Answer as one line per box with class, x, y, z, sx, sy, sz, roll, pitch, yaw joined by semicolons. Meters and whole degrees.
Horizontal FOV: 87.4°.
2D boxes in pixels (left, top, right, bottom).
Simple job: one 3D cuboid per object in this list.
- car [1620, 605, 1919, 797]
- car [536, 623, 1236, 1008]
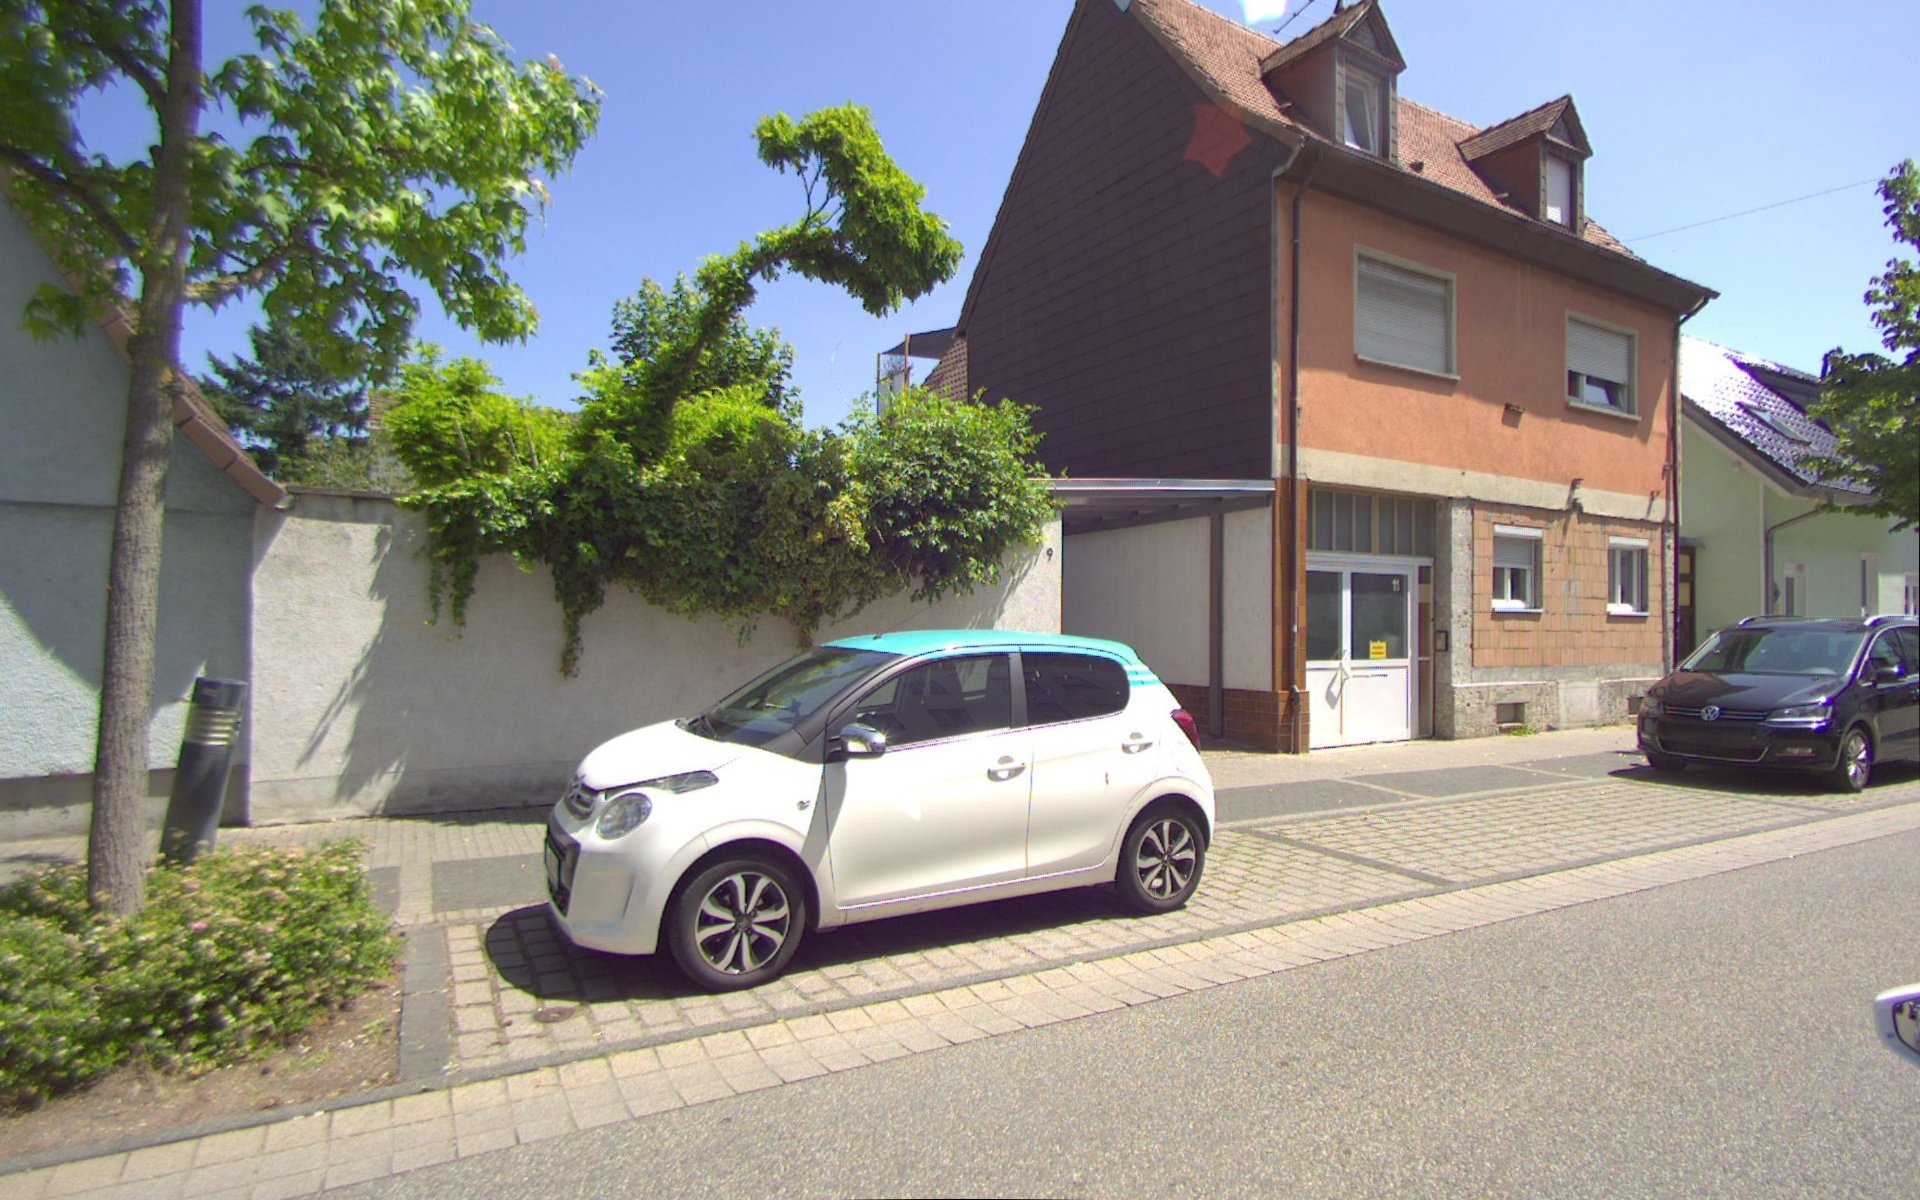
car;9.355;0.978;11.061;4.468;1.749;1.766;1;-2;-31
car;-0.331;0.870;5.315;3.369;1.449;1.547;1;-2;-30
